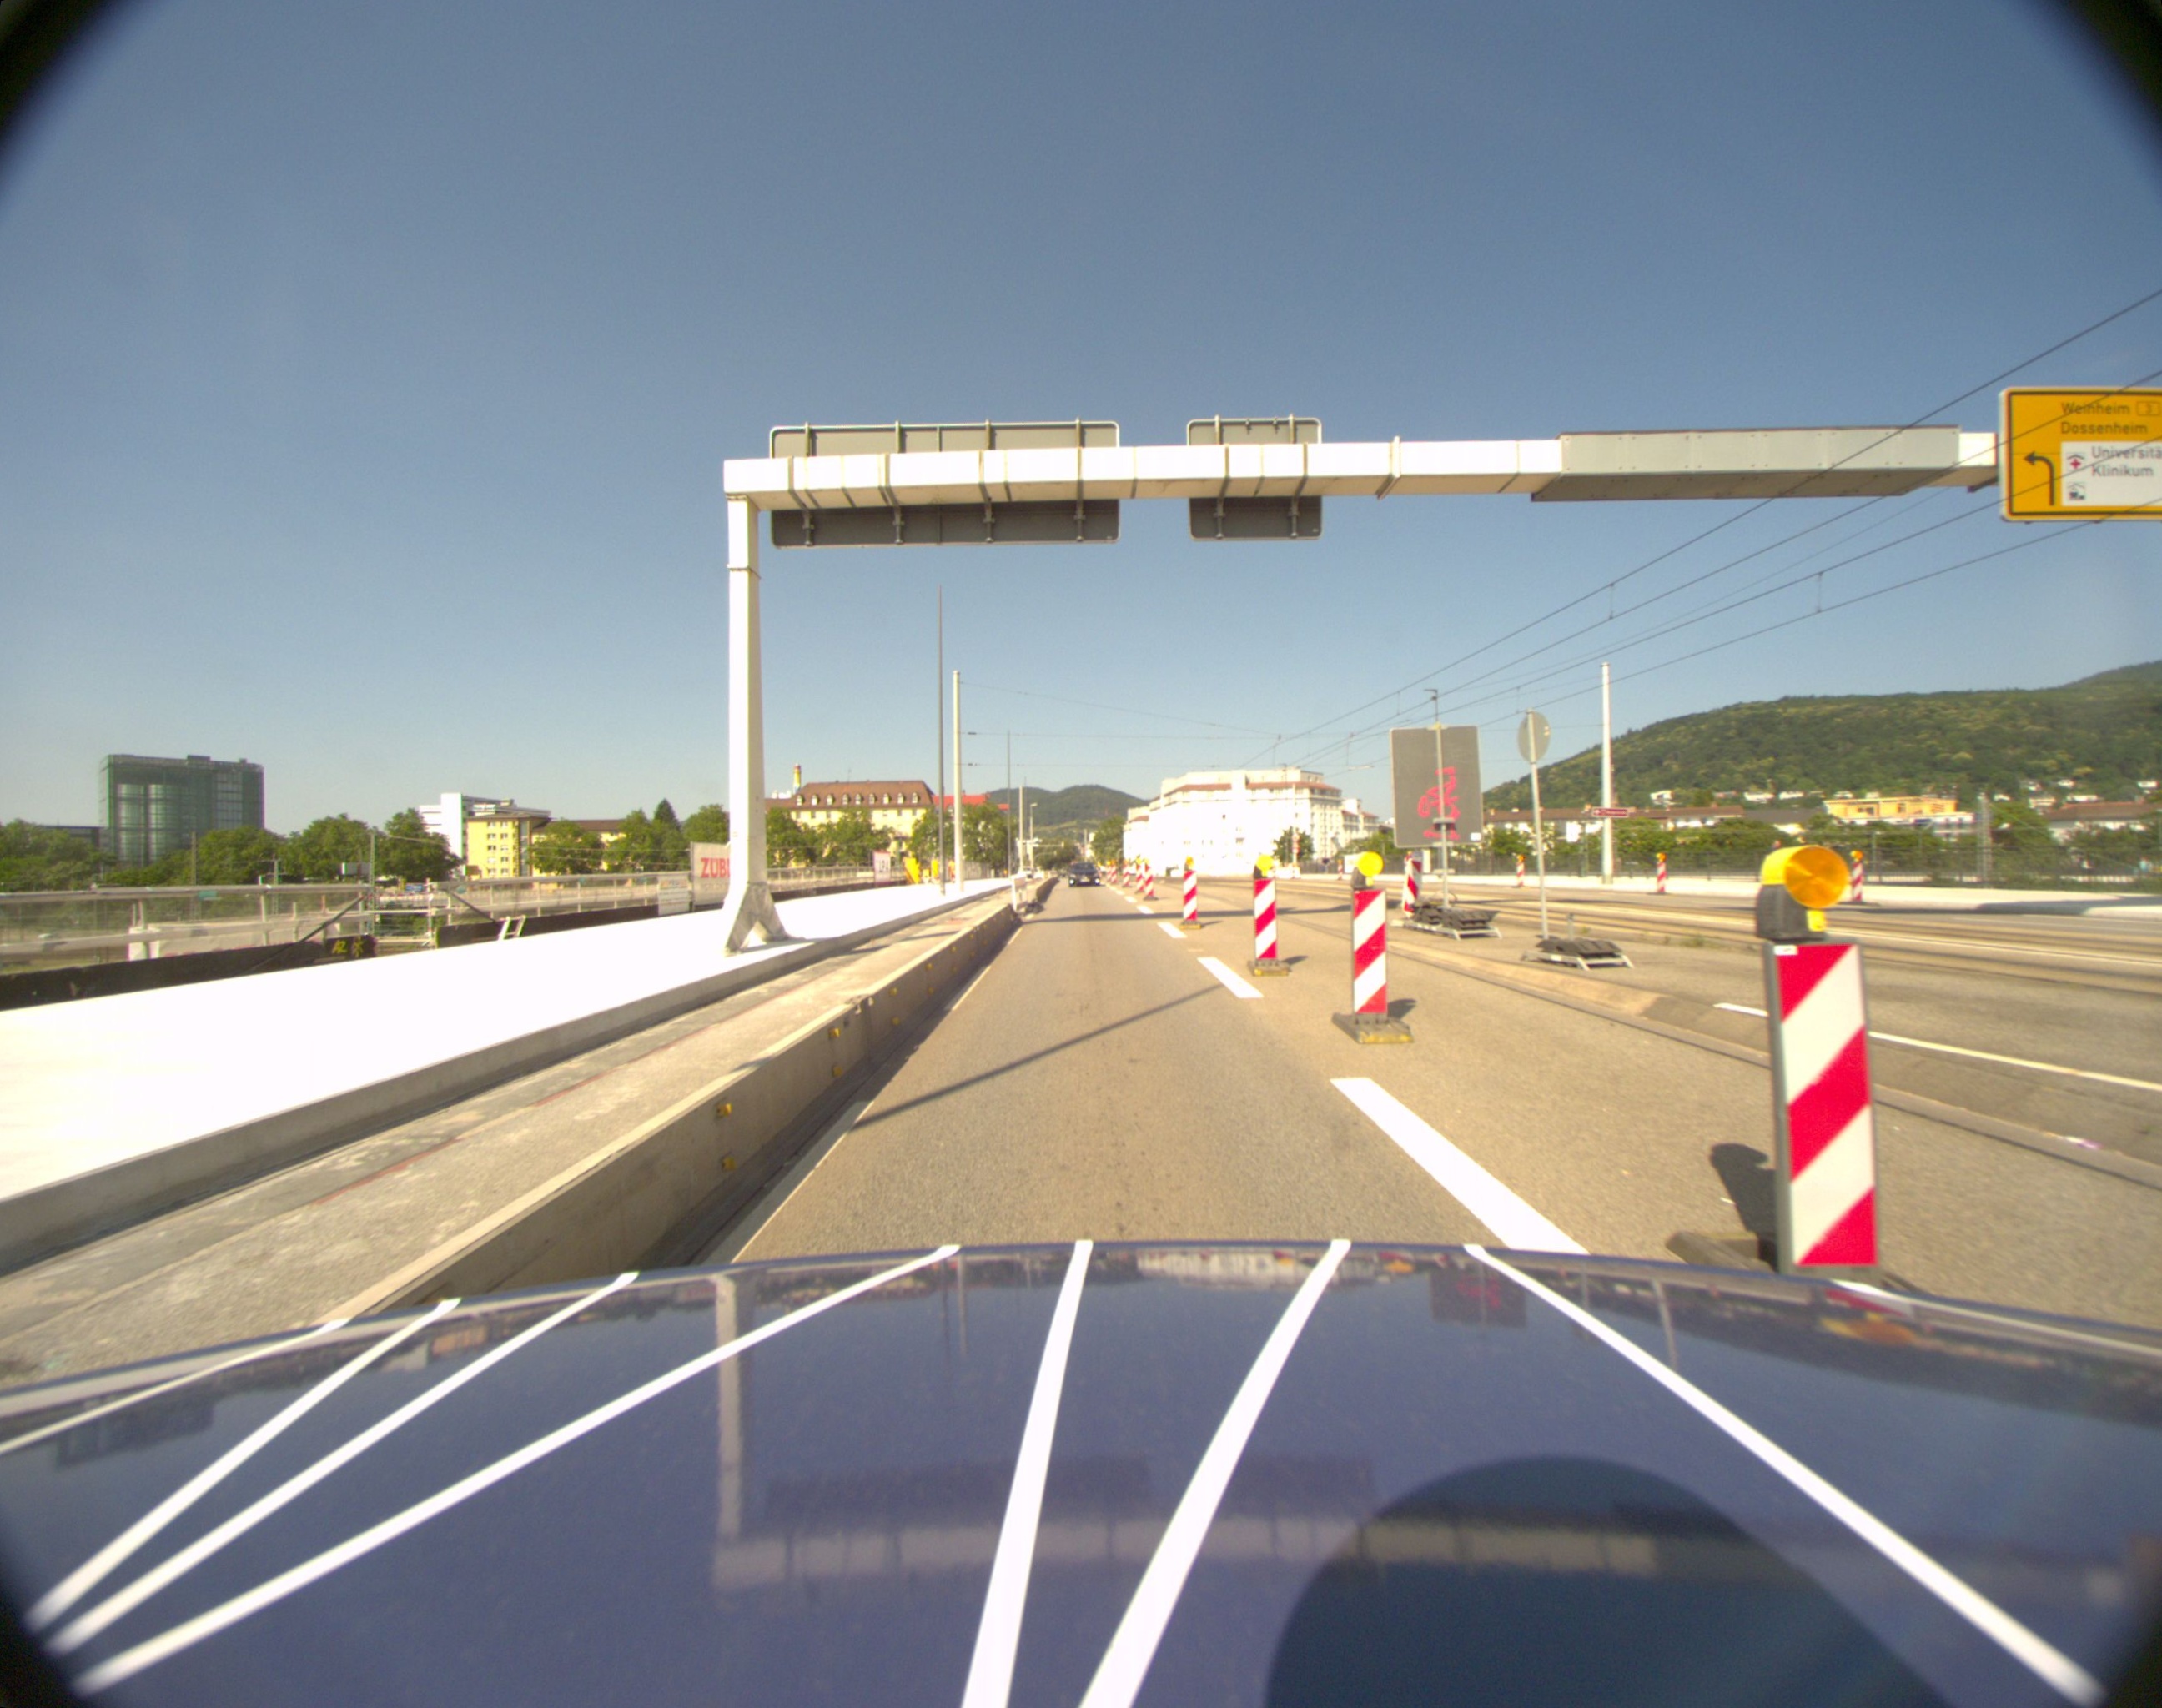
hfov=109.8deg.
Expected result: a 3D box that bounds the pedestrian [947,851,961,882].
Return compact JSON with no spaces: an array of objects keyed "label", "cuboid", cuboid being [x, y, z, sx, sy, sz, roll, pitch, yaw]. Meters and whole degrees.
[{"label":"pedestrian","cuboid":[-8.075,0.779,48.445,0.733,1.953,1.016,0,0,-1]}]

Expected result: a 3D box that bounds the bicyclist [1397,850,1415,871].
[{"label":"bicyclist","cuboid":[23.788,0.465,55.601,0.858,1.510,0.817,-2,0,-2]}]

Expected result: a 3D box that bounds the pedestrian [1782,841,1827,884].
[{"label":"pedestrian","cuboid":[26.879,0.333,28.244,0.721,1.535,0.889,-3,0,-1]}]

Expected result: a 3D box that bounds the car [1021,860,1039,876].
[{"label":"car","cuboid":[-7.206,2.031,107.313,1.938,2.077,6.472,-1,-2,1]}]

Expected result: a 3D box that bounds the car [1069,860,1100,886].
[{"label":"car","cuboid":[0.189,1.092,44.656,1.698,1.388,4.362,-3,0,0]}]

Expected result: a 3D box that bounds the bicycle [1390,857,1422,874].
[{"label":"bicycle","cuboid":[23.806,0.862,55.738,0.858,1.187,3.072,-2,0,-2]}]

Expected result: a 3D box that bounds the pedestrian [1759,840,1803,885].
[{"label":"pedestrian","cuboid":[25.984,0.314,28.221,0.745,1.632,0.895,-3,0,-1]}]
